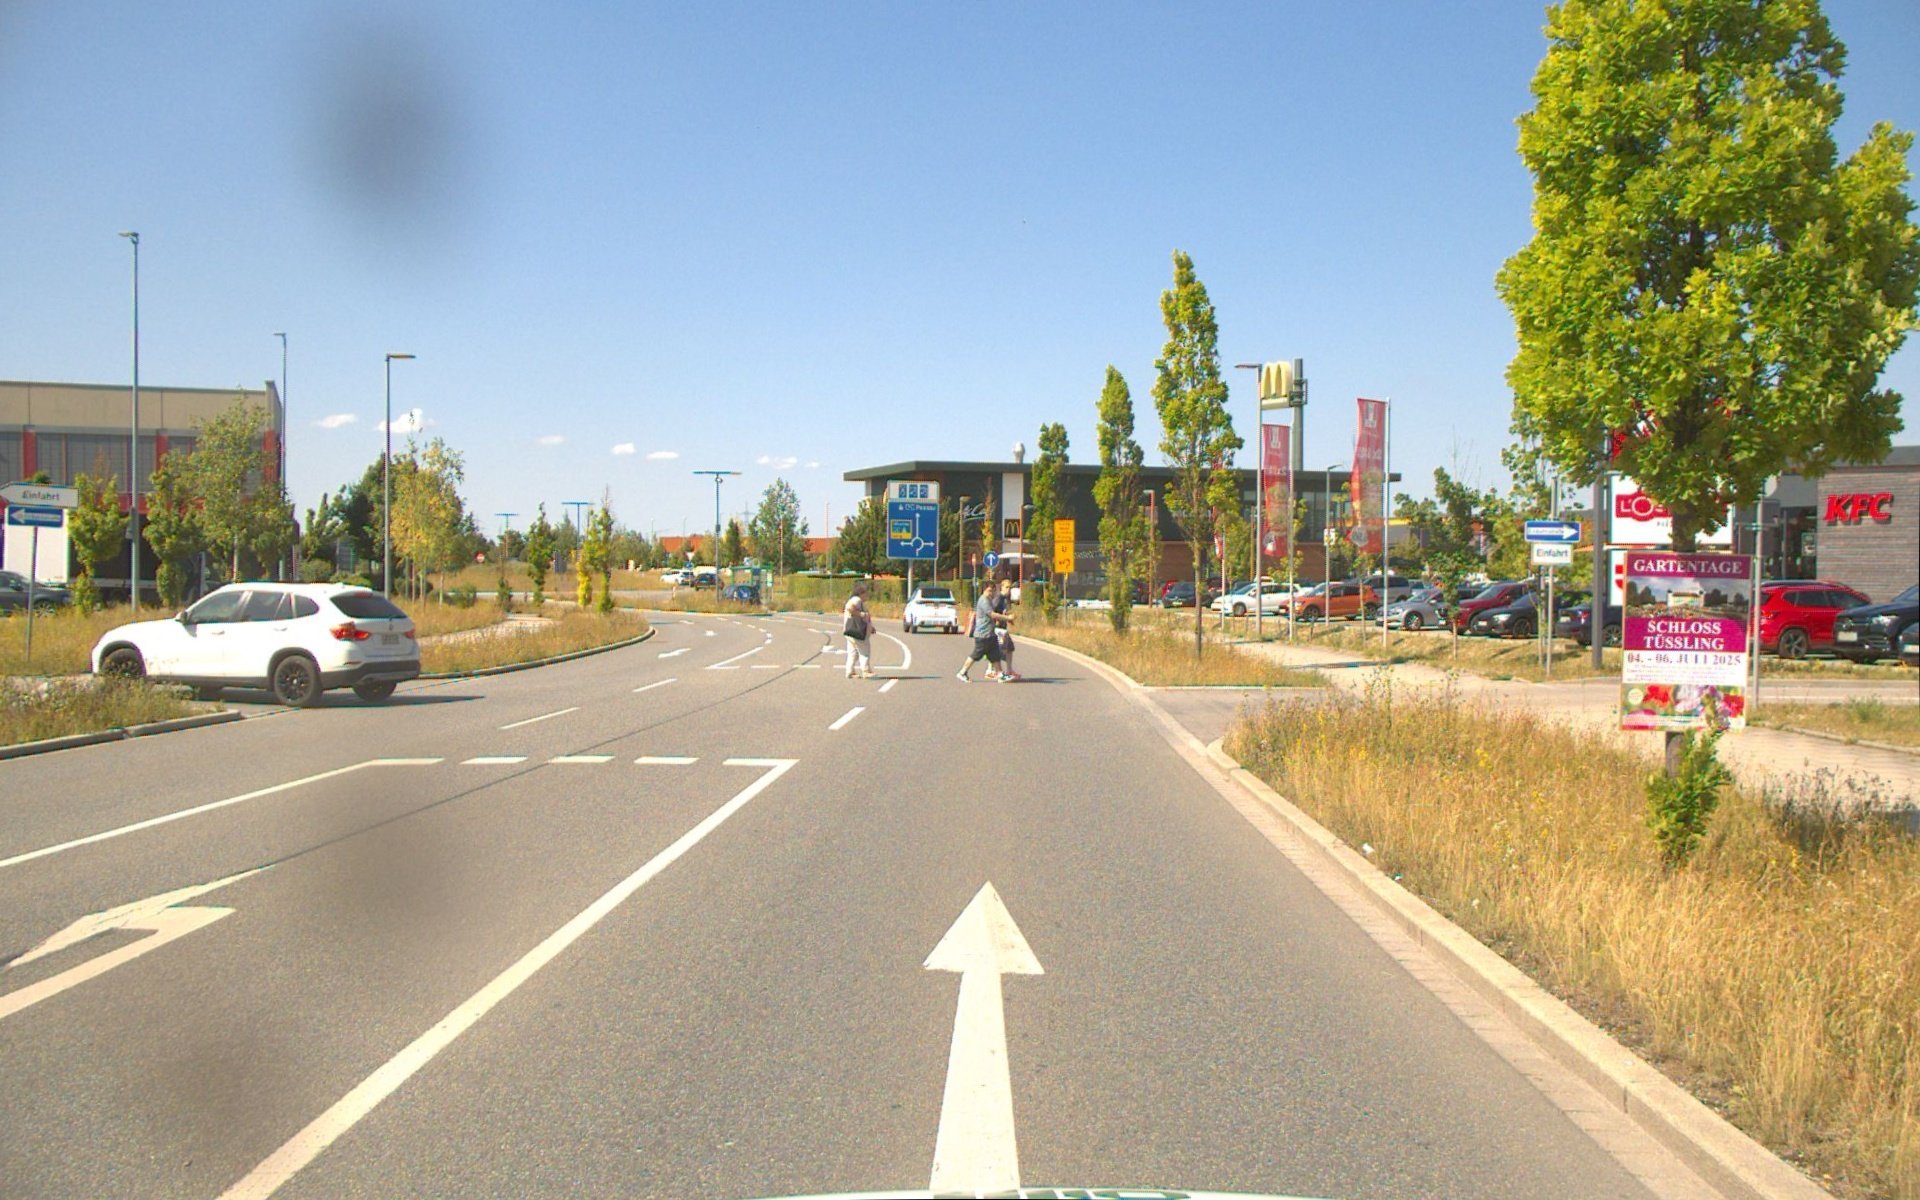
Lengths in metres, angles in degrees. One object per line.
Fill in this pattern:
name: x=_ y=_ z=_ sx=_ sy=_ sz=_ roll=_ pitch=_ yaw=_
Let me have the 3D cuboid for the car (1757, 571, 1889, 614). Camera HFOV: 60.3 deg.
car: x=31.487 y=-0.286 z=60.342 sx=4.492 sy=1.456 sz=1.856 roll=-1 pitch=1 yaw=-23

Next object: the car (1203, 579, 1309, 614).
car: x=13.536 y=-0.165 z=75.713 sx=4.450 sy=1.516 sz=1.862 roll=-1 pitch=1 yaw=-15

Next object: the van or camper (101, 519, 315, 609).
van or camper: x=-30.411 y=-1.424 z=67.216 sx=7.568 sy=3.529 sz=2.544 roll=0 pitch=0 yaw=-17

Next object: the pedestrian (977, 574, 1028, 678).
pedestrian: x=0.690 y=0.411 z=26.861 sx=0.784 sy=1.658 sz=0.805 roll=1 pitch=0 yaw=-1

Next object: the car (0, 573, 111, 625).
car: x=-26.155 y=-0.043 z=45.714 sx=4.338 sy=1.407 sz=1.973 roll=0 pitch=0 yaw=-6

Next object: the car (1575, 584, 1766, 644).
car: x=18.670 y=0.368 z=43.600 sx=4.312 sy=1.474 sz=1.793 roll=-1 pitch=1 yaw=8

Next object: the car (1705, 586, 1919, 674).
car: x=18.805 y=0.613 z=36.321 sx=4.333 sy=1.765 sz=1.784 roll=-1 pitch=1 yaw=-15

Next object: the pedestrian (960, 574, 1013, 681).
pedestrian: x=0.413 y=0.420 z=26.130 sx=0.792 sy=1.657 sz=0.866 roll=1 pitch=0 yaw=-1

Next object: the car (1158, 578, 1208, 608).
car: x=11.639 y=-0.375 z=86.000 sx=1.662 sy=1.487 sz=4.170 roll=0 pitch=1 yaw=21

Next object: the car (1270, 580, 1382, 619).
car: x=15.129 y=-0.025 z=68.387 sx=4.134 sy=1.516 sz=1.862 roll=-1 pitch=1 yaw=-15

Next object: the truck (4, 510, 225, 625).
truck: x=-27.627 y=-1.038 z=54.480 sx=2.267 sy=3.525 sz=7.501 roll=0 pitch=1 yaw=12

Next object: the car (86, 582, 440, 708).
car: x=-9.328 y=0.549 z=22.208 sx=4.123 sy=1.574 sz=1.919 roll=0 pitch=0 yaw=17

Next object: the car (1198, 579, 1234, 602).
car: x=17.398 y=-0.659 z=112.355 sx=1.755 sy=1.539 sz=4.002 roll=0 pitch=1 yaw=18

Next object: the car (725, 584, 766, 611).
car: x=-11.944 y=-0.179 z=91.900 sx=1.592 sy=1.459 sz=3.772 roll=0 pitch=1 yaw=-19

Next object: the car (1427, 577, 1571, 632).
car: x=17.567 y=0.127 z=54.021 sx=4.075 sy=1.694 sz=1.866 roll=-1 pitch=1 yaw=-8

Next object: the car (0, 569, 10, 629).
car: x=-26.045 y=-0.021 z=40.437 sx=4.488 sy=1.484 sz=1.836 roll=0 pitch=0 yaw=-7

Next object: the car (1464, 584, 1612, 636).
car: x=18.024 y=0.285 z=51.644 sx=4.082 sy=1.474 sz=1.785 roll=-1 pitch=1 yaw=-14

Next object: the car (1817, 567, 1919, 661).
car: x=20.012 y=0.229 z=33.066 sx=4.886 sy=1.765 sz=1.937 roll=-1 pitch=1 yaw=-6

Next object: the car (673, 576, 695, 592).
car: x=-26.388 y=-1.551 z=158.251 sx=1.958 sy=1.489 sz=3.989 roll=0 pitch=1 yaw=-11

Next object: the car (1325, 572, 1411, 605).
car: x=20.944 y=-0.599 z=84.897 sx=4.099 sy=1.664 sz=1.779 roll=-1 pitch=1 yaw=-23

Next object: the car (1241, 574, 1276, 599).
car: x=20.633 y=-0.936 z=114.251 sx=1.755 sy=1.731 sz=4.001 roll=0 pitch=1 yaw=19

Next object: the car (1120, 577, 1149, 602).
car: x=11.643 y=-0.727 z=110.163 sx=1.754 sy=1.632 sz=4.004 roll=0 pitch=1 yaw=9

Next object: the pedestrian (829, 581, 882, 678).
pedestrian: x=-1.654 y=0.457 z=26.314 sx=0.776 sy=1.495 sz=0.949 roll=1 pitch=0 yaw=-1

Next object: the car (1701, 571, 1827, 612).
car: x=30.566 y=-0.352 z=62.877 sx=4.492 sy=1.456 sz=1.856 roll=-1 pitch=1 yaw=-23

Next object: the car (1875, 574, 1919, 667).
car: x=18.726 y=0.328 z=29.035 sx=4.321 sy=1.593 sz=1.993 roll=-1 pitch=1 yaw=-6

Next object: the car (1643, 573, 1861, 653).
car: x=18.642 y=0.285 z=39.037 sx=4.319 sy=1.765 sz=1.790 roll=-1 pitch=1 yaw=-4

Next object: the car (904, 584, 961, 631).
car: x=-0.930 y=0.224 z=53.926 sx=1.585 sy=1.459 sz=3.789 roll=0 pitch=1 yaw=-5

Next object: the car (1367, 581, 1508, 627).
car: x=16.910 y=0.126 z=58.601 sx=4.474 sy=1.516 sz=1.864 roll=-1 pitch=1 yaw=-11

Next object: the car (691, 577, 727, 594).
car: x=-21.563 y=-1.243 z=142.249 sx=1.951 sy=1.465 sz=4.004 roll=0 pitch=1 yaw=9

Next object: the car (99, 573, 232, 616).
car: x=-30.090 y=-0.219 z=62.743 sx=4.298 sy=1.579 sz=1.829 roll=0 pitch=0 yaw=-17

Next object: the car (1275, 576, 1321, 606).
car: x=18.202 y=-0.501 z=88.970 sx=1.749 sy=1.607 sz=4.170 roll=0 pitch=1 yaw=21
